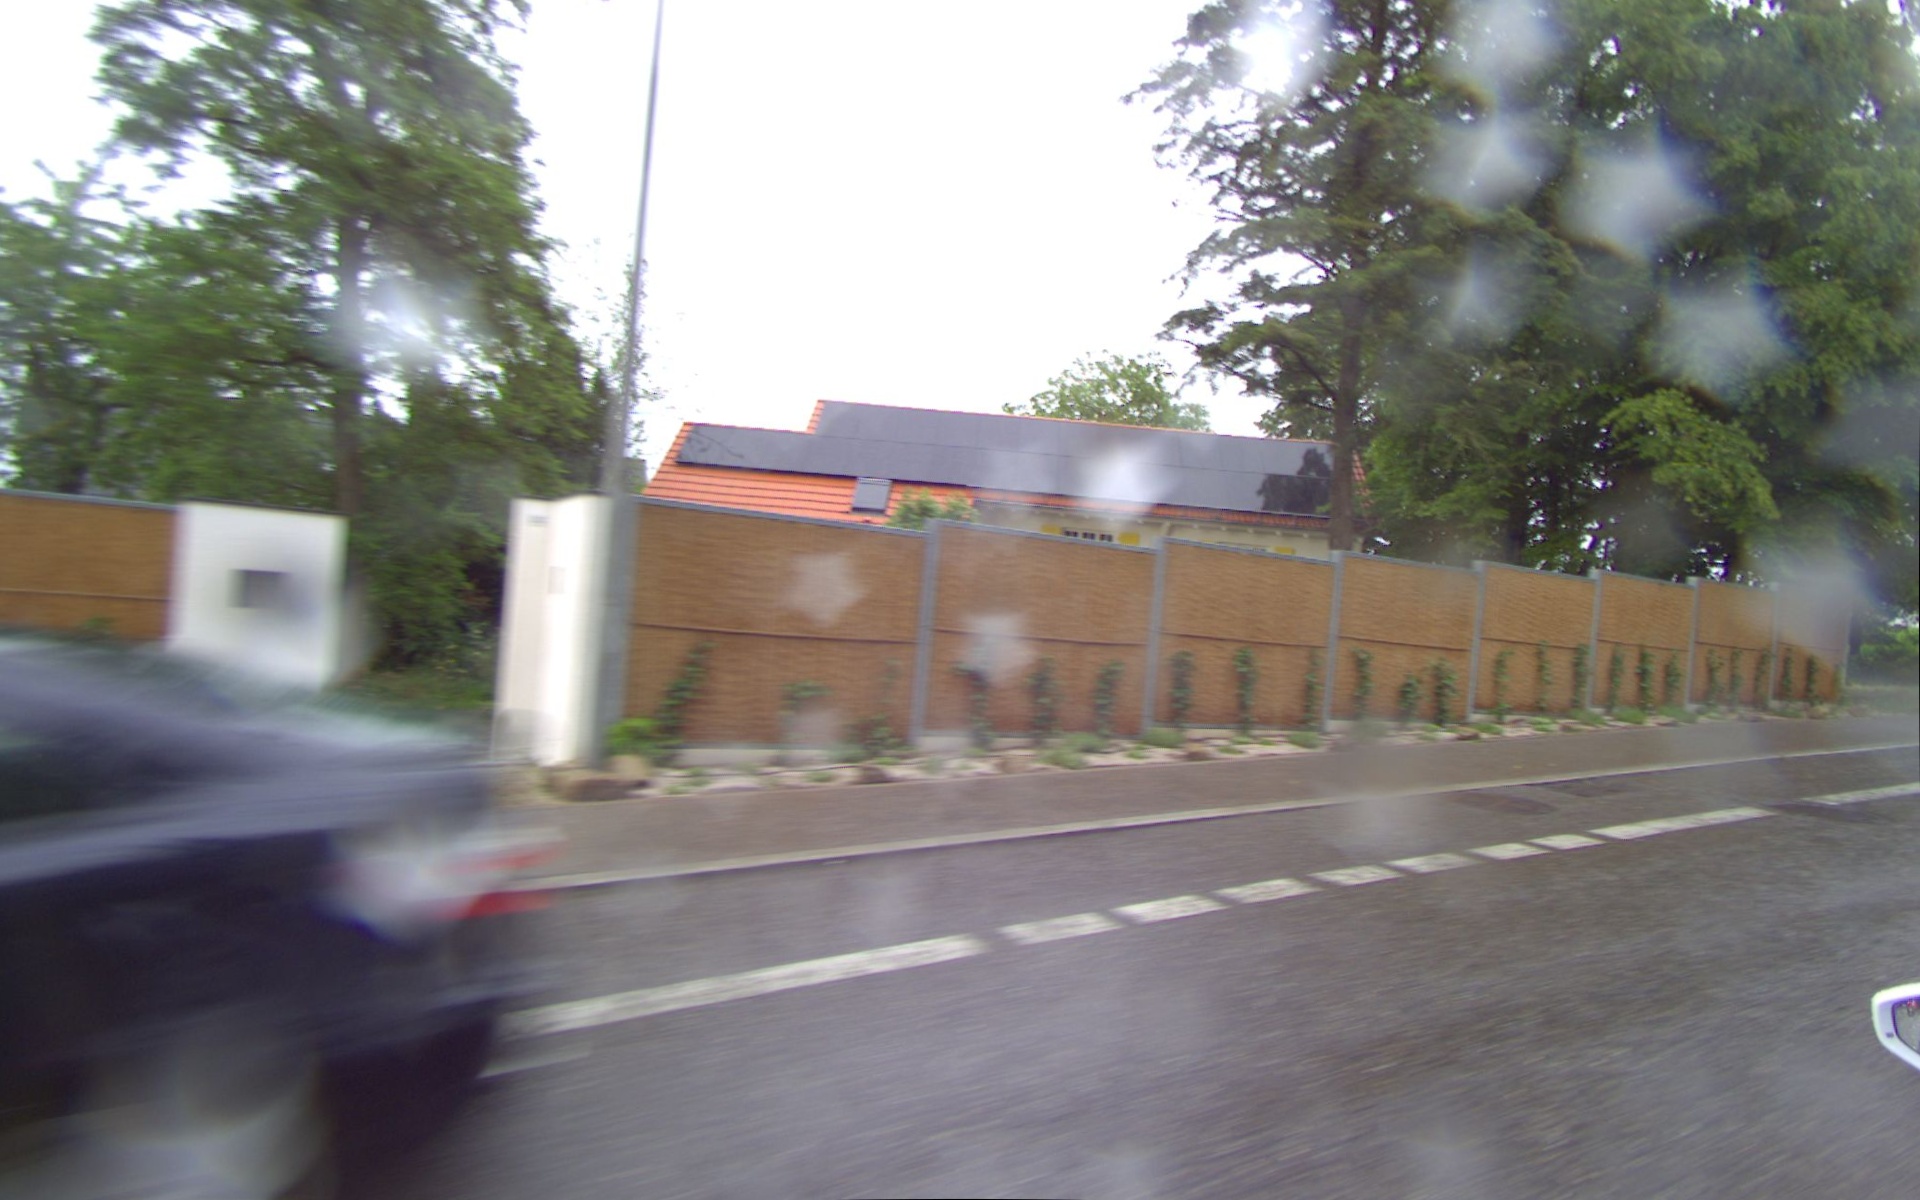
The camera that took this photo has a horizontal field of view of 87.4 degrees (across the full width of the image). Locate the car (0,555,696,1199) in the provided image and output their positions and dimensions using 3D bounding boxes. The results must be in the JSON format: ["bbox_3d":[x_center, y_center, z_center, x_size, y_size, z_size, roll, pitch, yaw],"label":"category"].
[{"bbox_3d":[-2.824,0.646,1.963,4.119,1.532,1.826,2,1,-30],"label":"car"}]
